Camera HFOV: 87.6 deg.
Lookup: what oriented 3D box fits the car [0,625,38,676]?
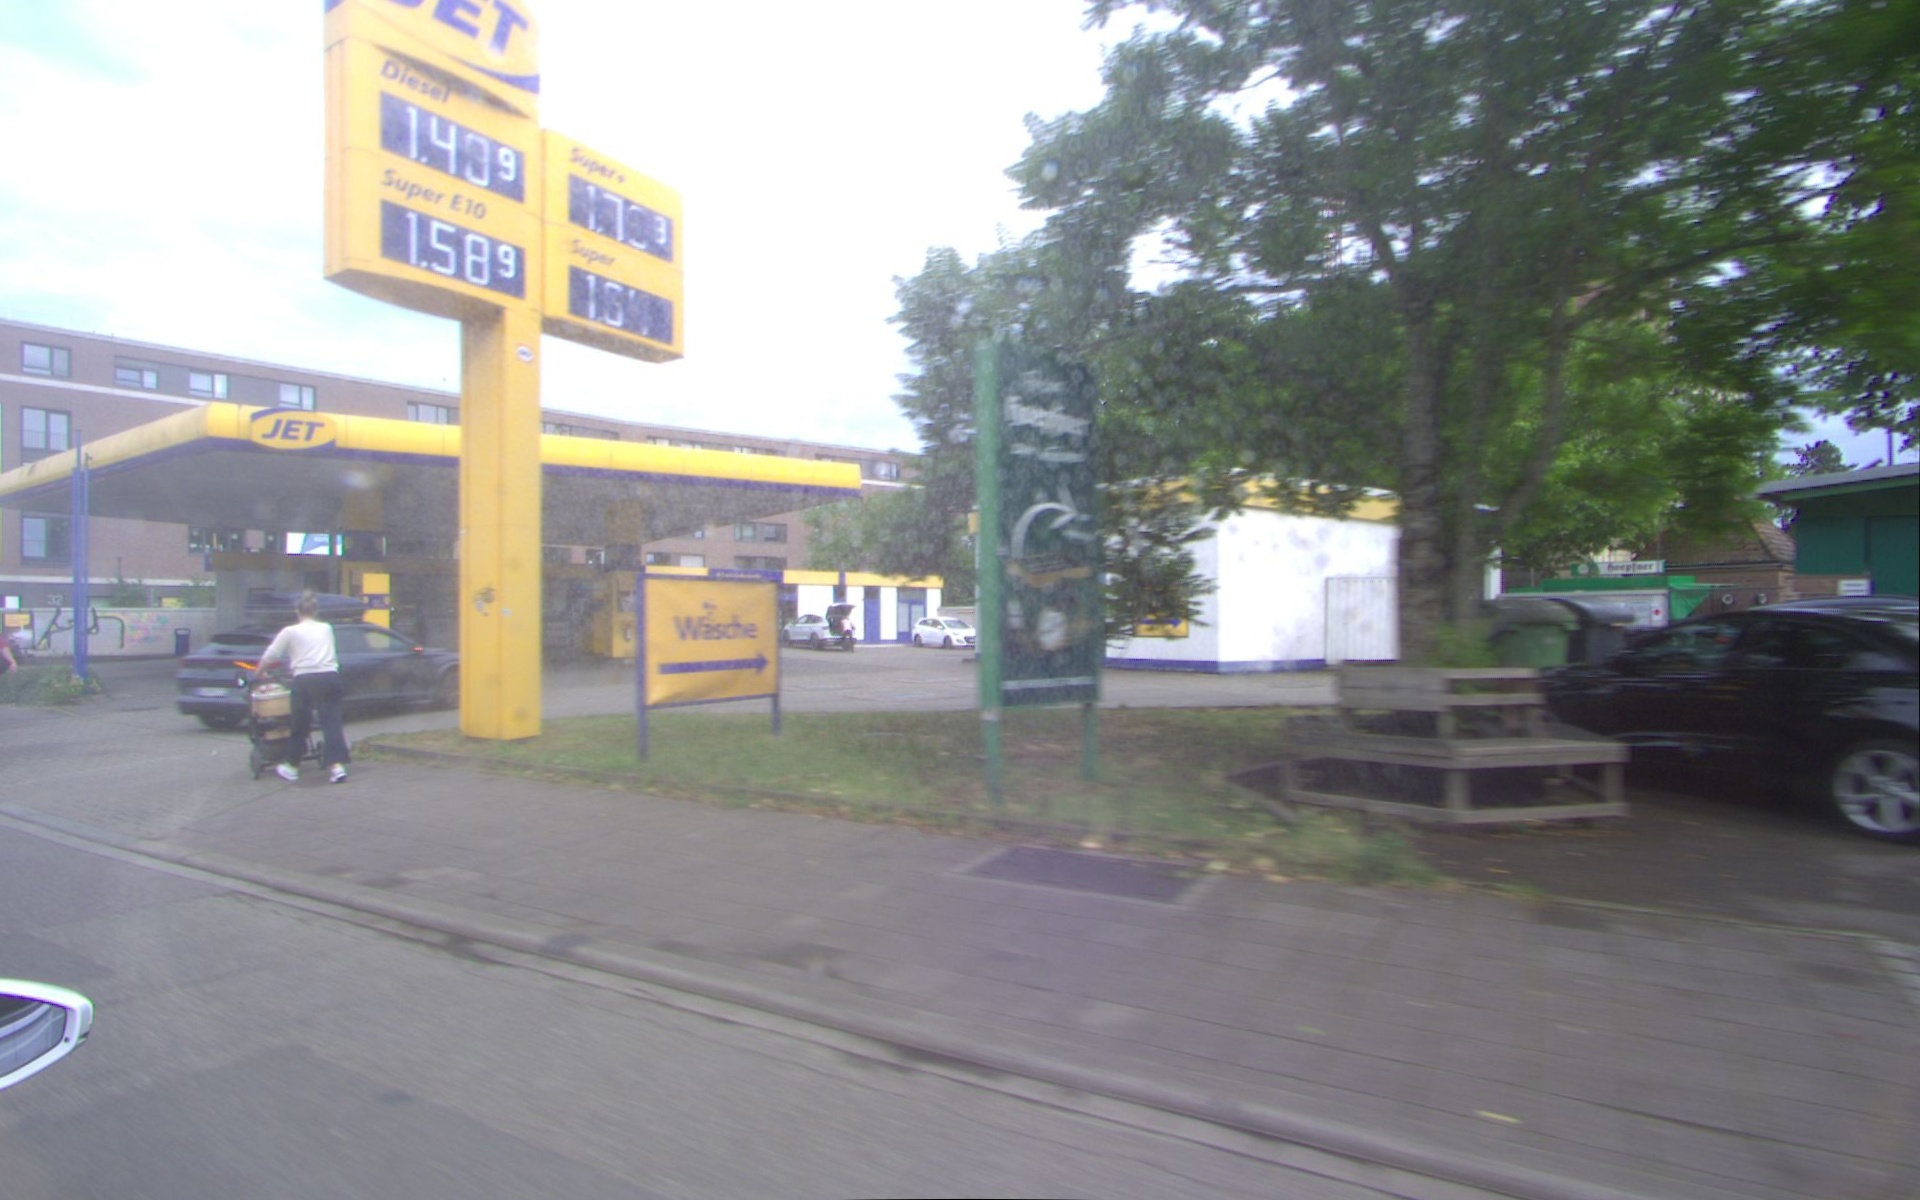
[{"bbox_3d":[-29.338,1.424,28.166,4.829,1.446,1.938,1,-1,-38],"label":"car"}]

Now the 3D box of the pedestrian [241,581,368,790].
[{"bbox_3d":[-6.219,0.756,9.486,0.762,1.821,1.151,-3,2,-43],"label":"pedestrian"}]

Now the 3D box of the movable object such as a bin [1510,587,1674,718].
[{"bbox_3d":[7.809,0.632,12.416,1.272,1.510,1.121,2,1,-19],"label":"movable object such as a bin"}]

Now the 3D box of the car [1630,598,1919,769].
[{"bbox_3d":[9.191,0.733,9.539,1.844,1.446,4.532,-2,1,-17],"label":"car"}]

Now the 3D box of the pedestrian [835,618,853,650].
[{"bbox_3d":[-5.010,1.475,43.219,0.573,1.364,0.607,2,-2,-35],"label":"pedestrian"}]

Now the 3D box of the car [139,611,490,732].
[{"bbox_3d":[-9.629,0.959,15.434,1.960,1.517,4.319,0,0,16],"label":"car"}]

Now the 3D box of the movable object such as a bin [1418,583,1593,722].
[{"bbox_3d":[6.520,0.600,12.018,1.397,1.535,1.121,1,3,-18],"label":"movable object such as a bin"}]

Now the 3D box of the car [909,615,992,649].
[{"bbox_3d":[-0.494,1.575,48.367,1.914,1.546,4.305,2,-3,-35],"label":"car"}]

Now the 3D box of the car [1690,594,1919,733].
[{"bbox_3d":[11.171,0.697,11.240,1.952,1.478,4.478,0,0,-20],"label":"car"}]

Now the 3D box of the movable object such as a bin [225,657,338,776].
[{"bbox_3d":[-6.870,1.142,10.131,0.762,1.053,1.014,-3,2,-43],"label":"movable object such as a bin"}]

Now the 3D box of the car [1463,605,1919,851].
[{"bbox_3d":[6.205,0.763,7.370,1.900,1.426,4.576,0,0,-15],"label":"car"}]

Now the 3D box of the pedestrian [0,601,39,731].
[{"bbox_3d":[-13.543,0.915,13.841,0.849,1.762,0.969,-1,1,33],"label":"pedestrian"}]

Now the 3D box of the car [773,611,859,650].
[{"bbox_3d":[-6.561,1.405,45.156,1.819,1.658,4.443,2,-3,-39],"label":"car"}]
